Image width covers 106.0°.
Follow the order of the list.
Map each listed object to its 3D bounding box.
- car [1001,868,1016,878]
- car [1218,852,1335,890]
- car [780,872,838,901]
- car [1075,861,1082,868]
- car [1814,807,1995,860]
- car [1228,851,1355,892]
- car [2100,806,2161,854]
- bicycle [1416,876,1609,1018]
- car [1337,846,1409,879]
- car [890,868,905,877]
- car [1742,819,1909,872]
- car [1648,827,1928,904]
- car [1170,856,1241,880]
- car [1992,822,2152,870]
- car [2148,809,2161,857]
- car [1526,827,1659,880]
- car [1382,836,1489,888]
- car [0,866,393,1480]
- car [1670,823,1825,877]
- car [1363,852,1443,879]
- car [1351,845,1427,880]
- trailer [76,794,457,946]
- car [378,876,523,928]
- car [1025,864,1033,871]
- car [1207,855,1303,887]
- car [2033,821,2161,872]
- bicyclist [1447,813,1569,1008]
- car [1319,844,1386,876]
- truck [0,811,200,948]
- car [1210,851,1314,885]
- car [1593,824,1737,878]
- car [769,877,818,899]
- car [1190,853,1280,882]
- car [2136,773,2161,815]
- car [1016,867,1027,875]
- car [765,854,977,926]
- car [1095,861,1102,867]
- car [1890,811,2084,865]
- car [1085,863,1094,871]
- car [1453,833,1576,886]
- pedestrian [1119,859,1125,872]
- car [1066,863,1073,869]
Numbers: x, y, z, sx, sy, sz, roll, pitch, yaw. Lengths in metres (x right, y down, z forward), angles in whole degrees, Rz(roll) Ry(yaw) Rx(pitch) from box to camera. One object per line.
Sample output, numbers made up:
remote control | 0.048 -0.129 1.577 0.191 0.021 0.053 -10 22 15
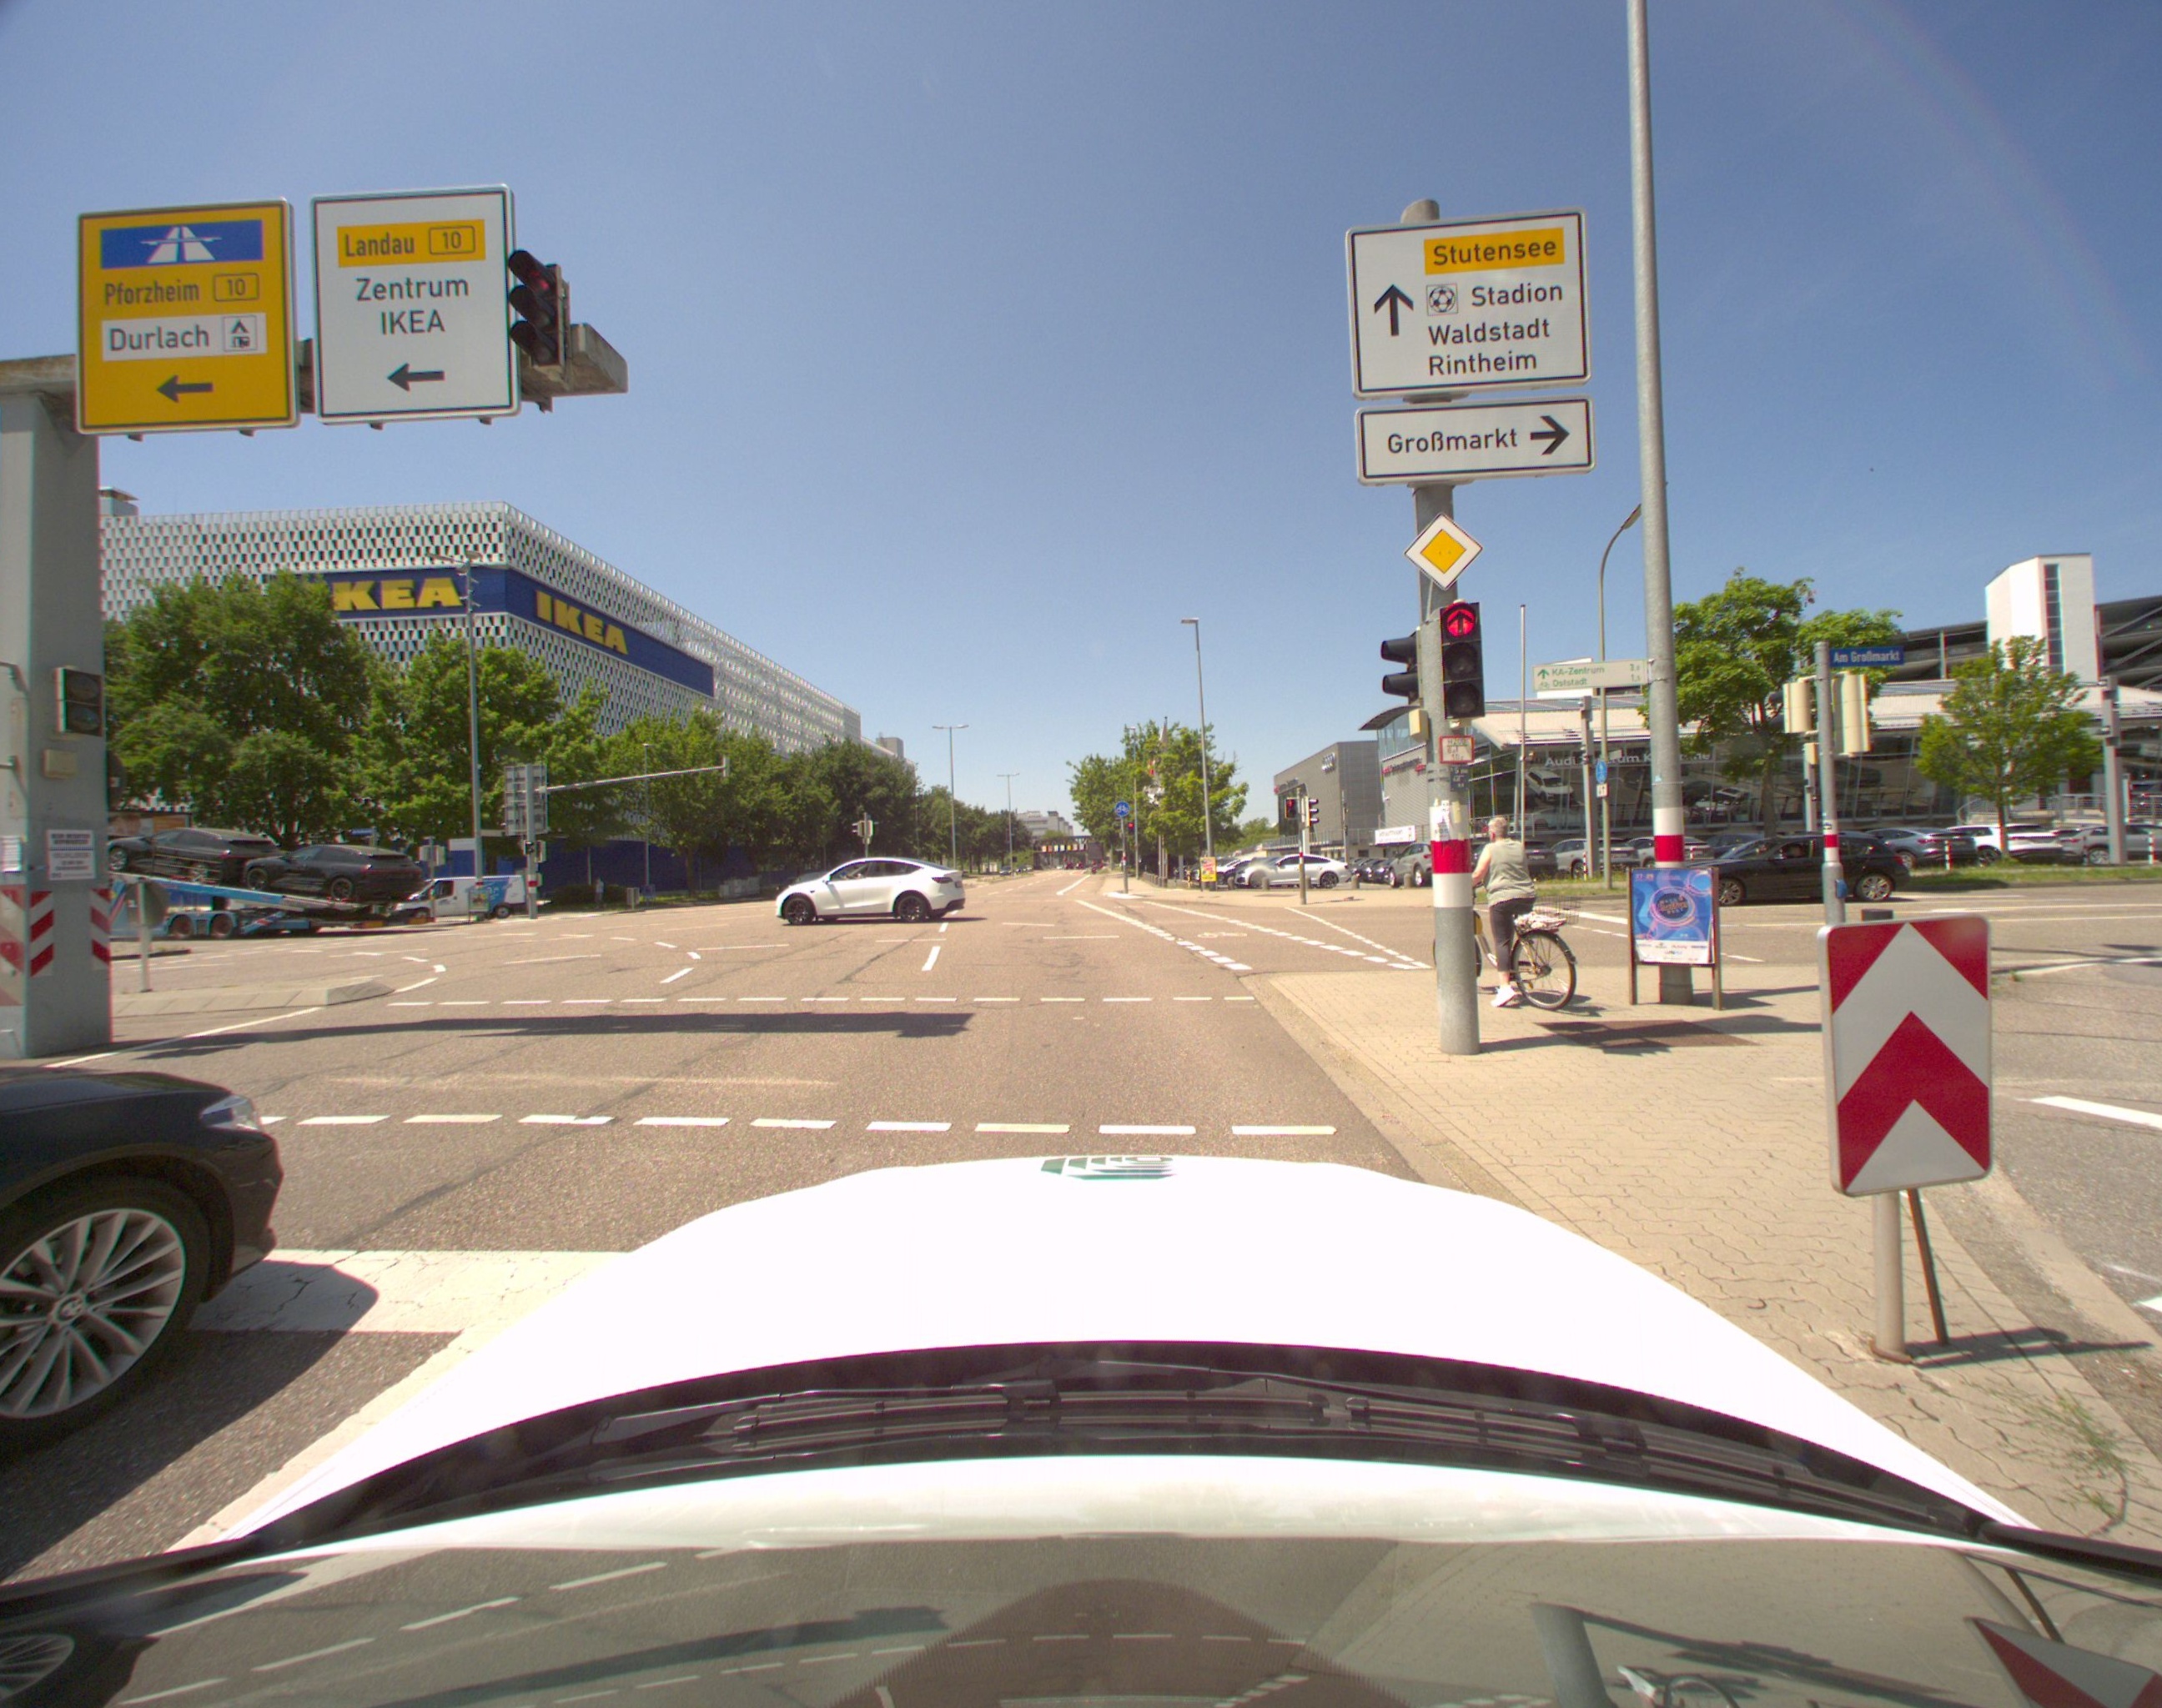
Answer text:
car | -10.805 2.803 121.722 1.725 1.427 3.707 -4 -1 2
car | 8.534 0.742 35.885 4.721 1.457 2.002 -2 -2 3
car | -16.638 1.967 49.984 1.868 1.598 4.498 -3 -1 2
car | -0.703 2.929 220.477 1.765 1.728 4.001 -3 -1 2
car | 28.541 -0.659 28.464 1.821 1.639 4.476 -3 0 2
car | 8.484 0.679 33.160 4.721 1.457 2.002 -2 0 3
car | 46.895 -1.084 34.877 3.728 2.014 1.866 -2 -1 11
bicycle | 4.053 0.812 7.855 0.784 1.127 1.919 -1 0 -2
car | 19.337 0.572 54.065 3.971 2.014 2.001 -2 -1 2
car | -39.565 4.031 175.400 1.984 1.810 4.034 0 0 5
car | 25.829 -0.272 28.497 1.821 1.640 4.476 -2 0 2
car | 14.838 0.252 17.332 4.194 1.411 1.678 -2 0 12
car | 8.934 0.990 58.749 4.726 1.457 2.000 -3 0 0
car | 40.286 -0.296 33.246 3.720 1.772 1.781 -3 -1 32
car | 39.408 -0.809 26.891 4.705 1.639 1.844 -3 0 24
car | 17.940 -0.017 28.858 1.986 1.639 4.443 -3 0 2
car | 12.411 0.249 28.822 1.986 1.639 4.270 -2 0 2
car | -3.537 0.790 0.753 1.793 1.466 4.624 -1 0 1
car | 23.140 -0.139 28.549 1.821 1.639 4.476 -3 0 2
car | 19.294 0.654 48.904 4.076 1.460 1.720 -2 0 2
car | 19.314 0.517 51.248 3.971 2.014 2.001 -2 -1 2
trailer | -25.468 0.537 25.699 9.562 4.081 3.100 -3 -1 6
car | -28.372 2.105 36.810 1.974 2.008 4.795 -3 -1 37
car | -11.741 3.031 183.044 1.645 1.653 4.160 -2 -1 -2
car | 9.281 0.887 43.674 4.726 1.457 2.000 -2 0 0
car | 39.114 -0.274 30.767 3.665 1.777 1.759 -3 -1 28
bicyclist | 4.023 0.508 7.728 0.732 1.749 0.753 -1 0 -3
car | 18.730 0.421 56.285 3.971 2.014 2.001 -2 -1 2
truck | -35.502 0.979 26.759 10.562 4.083 3.106 -3 -1 6
car | 8.876 0.692 40.202 4.721 1.457 2.002 -2 0 3
car | 20.337 -0.105 28.654 1.878 1.639 4.526 -3 0 2
car | -21.150 2.462 59.991 1.760 1.533 3.763 -2 -2 9
car | 8.751 0.737 46.490 4.726 1.457 2.000 -2 0 0
car | 54.883 -3.062 39.544 1.989 2.014 3.995 -2 -1 -3
car | -10.588 3.059 145.099 1.678 1.411 3.666 -3 -1 2
car | -5.156 0.879 20.372 4.654 1.588 2.004 -2 -1 7
car | 4.752 2.714 220.849 1.765 1.728 4.001 -3 -1 2
car | 31.186 -0.512 28.275 1.821 1.639 4.476 -3 0 2
car | 1.100 1.672 105.438 1.133 1.042 2.309 -2 0 2
car | 15.091 0.162 28.682 1.986 1.639 4.559 -2 0 2
pedestrian | 4.653 1.280 92.405 0.665 1.510 0.736 -2 -1 1
car | -3.250 3.338 225.303 1.765 1.728 4.001 -3 -1 2
